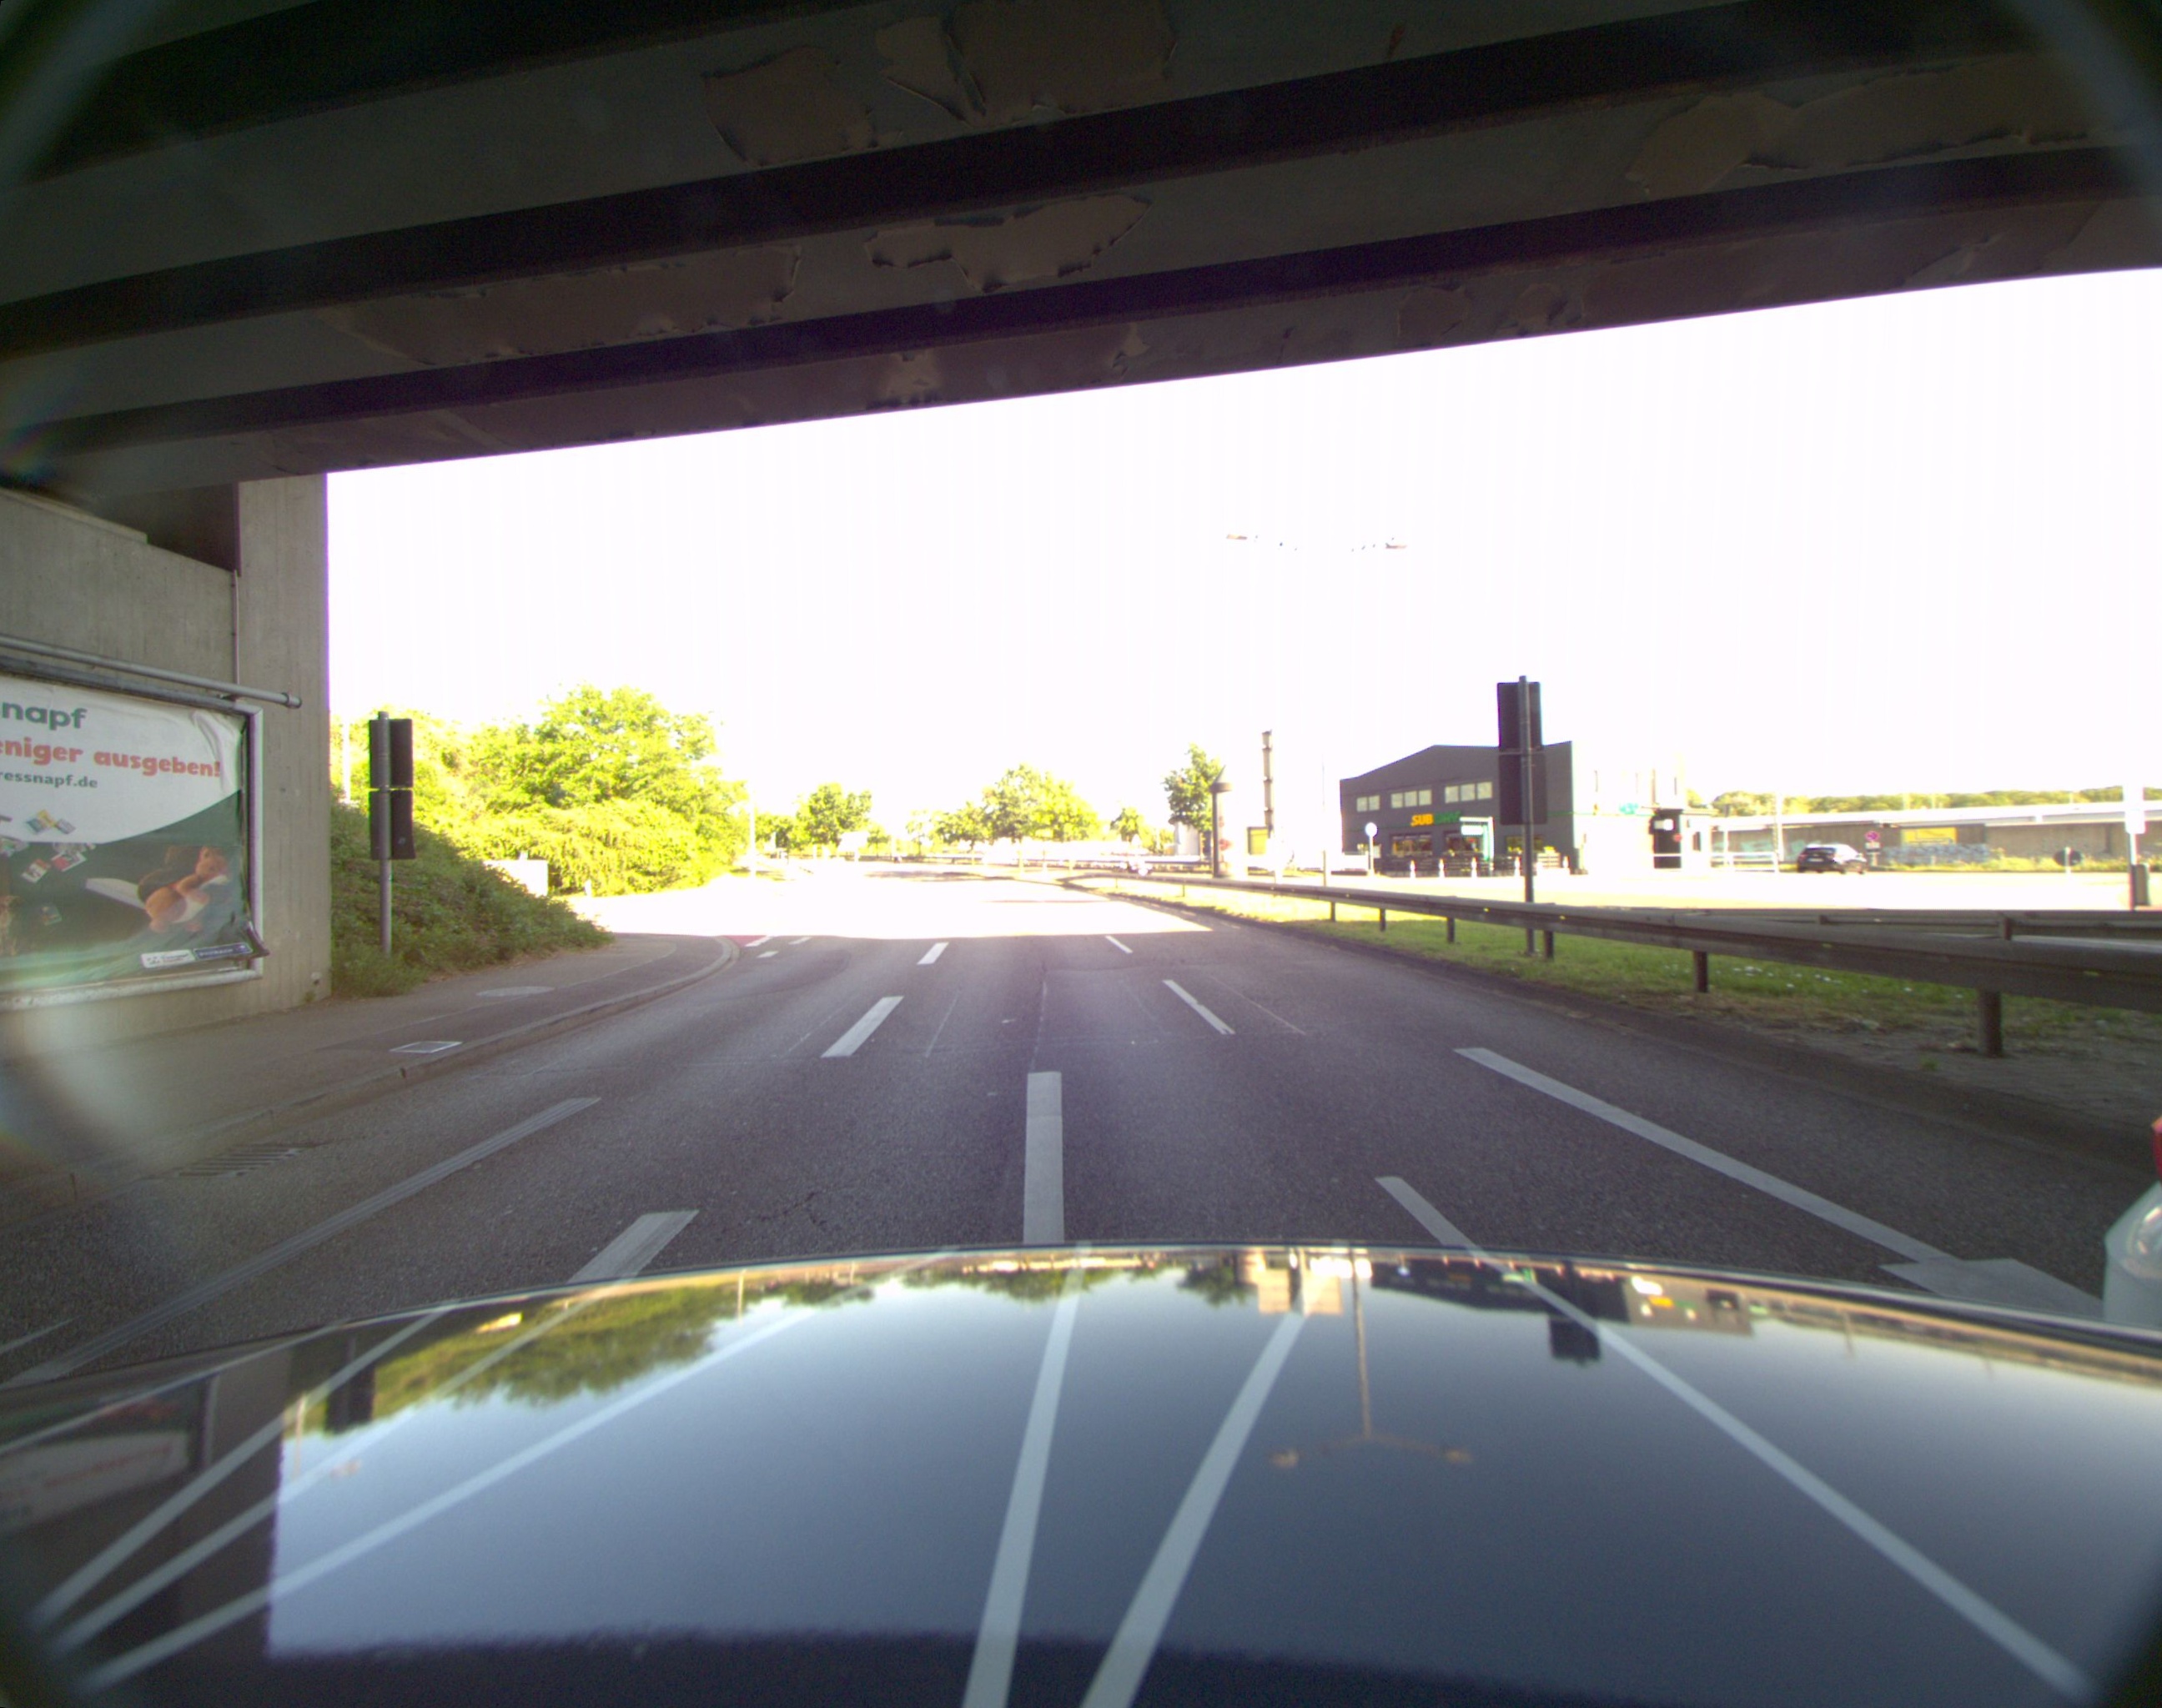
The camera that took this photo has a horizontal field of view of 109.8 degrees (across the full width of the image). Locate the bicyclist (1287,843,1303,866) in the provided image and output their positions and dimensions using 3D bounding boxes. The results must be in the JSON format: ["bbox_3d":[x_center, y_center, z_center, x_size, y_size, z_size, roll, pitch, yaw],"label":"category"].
[{"bbox_3d":[13.463,0.060,47.869,0.594,1.419,0.707,-3,1,-28],"label":"bicyclist"}]

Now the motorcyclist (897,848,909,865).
[{"bbox_3d":[-23.866,0.288,101.999,1.111,2.228,1.179,-3,1,-36],"label":"motorcyclist"}]

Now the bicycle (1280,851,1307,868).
[{"bbox_3d":[13.390,0.358,47.991,0.594,1.017,1.746,-3,1,-28],"label":"bicycle"}]

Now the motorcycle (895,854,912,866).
[{"bbox_3d":[-23.847,0.806,101.994,1.111,1.651,3.147,-3,1,-37],"label":"motorcycle"}]

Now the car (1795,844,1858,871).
[{"bbox_3d":[38.289,0.197,39.006,4.191,1.274,1.825,1,0,-39],"label":"car"}]

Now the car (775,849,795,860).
[{"bbox_3d":[-52.556,0.085,135.026,1.835,1.727,4.516,1,0,-42],"label":"car"}]

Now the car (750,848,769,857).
[{"bbox_3d":[-55.681,-0.238,131.479,1.742,1.411,4.308,0,-2,-41],"label":"car"}]

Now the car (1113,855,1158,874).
[{"bbox_3d":[3.777,0.715,53.458,1.749,1.274,4.176,1,0,-17],"label":"car"}]
